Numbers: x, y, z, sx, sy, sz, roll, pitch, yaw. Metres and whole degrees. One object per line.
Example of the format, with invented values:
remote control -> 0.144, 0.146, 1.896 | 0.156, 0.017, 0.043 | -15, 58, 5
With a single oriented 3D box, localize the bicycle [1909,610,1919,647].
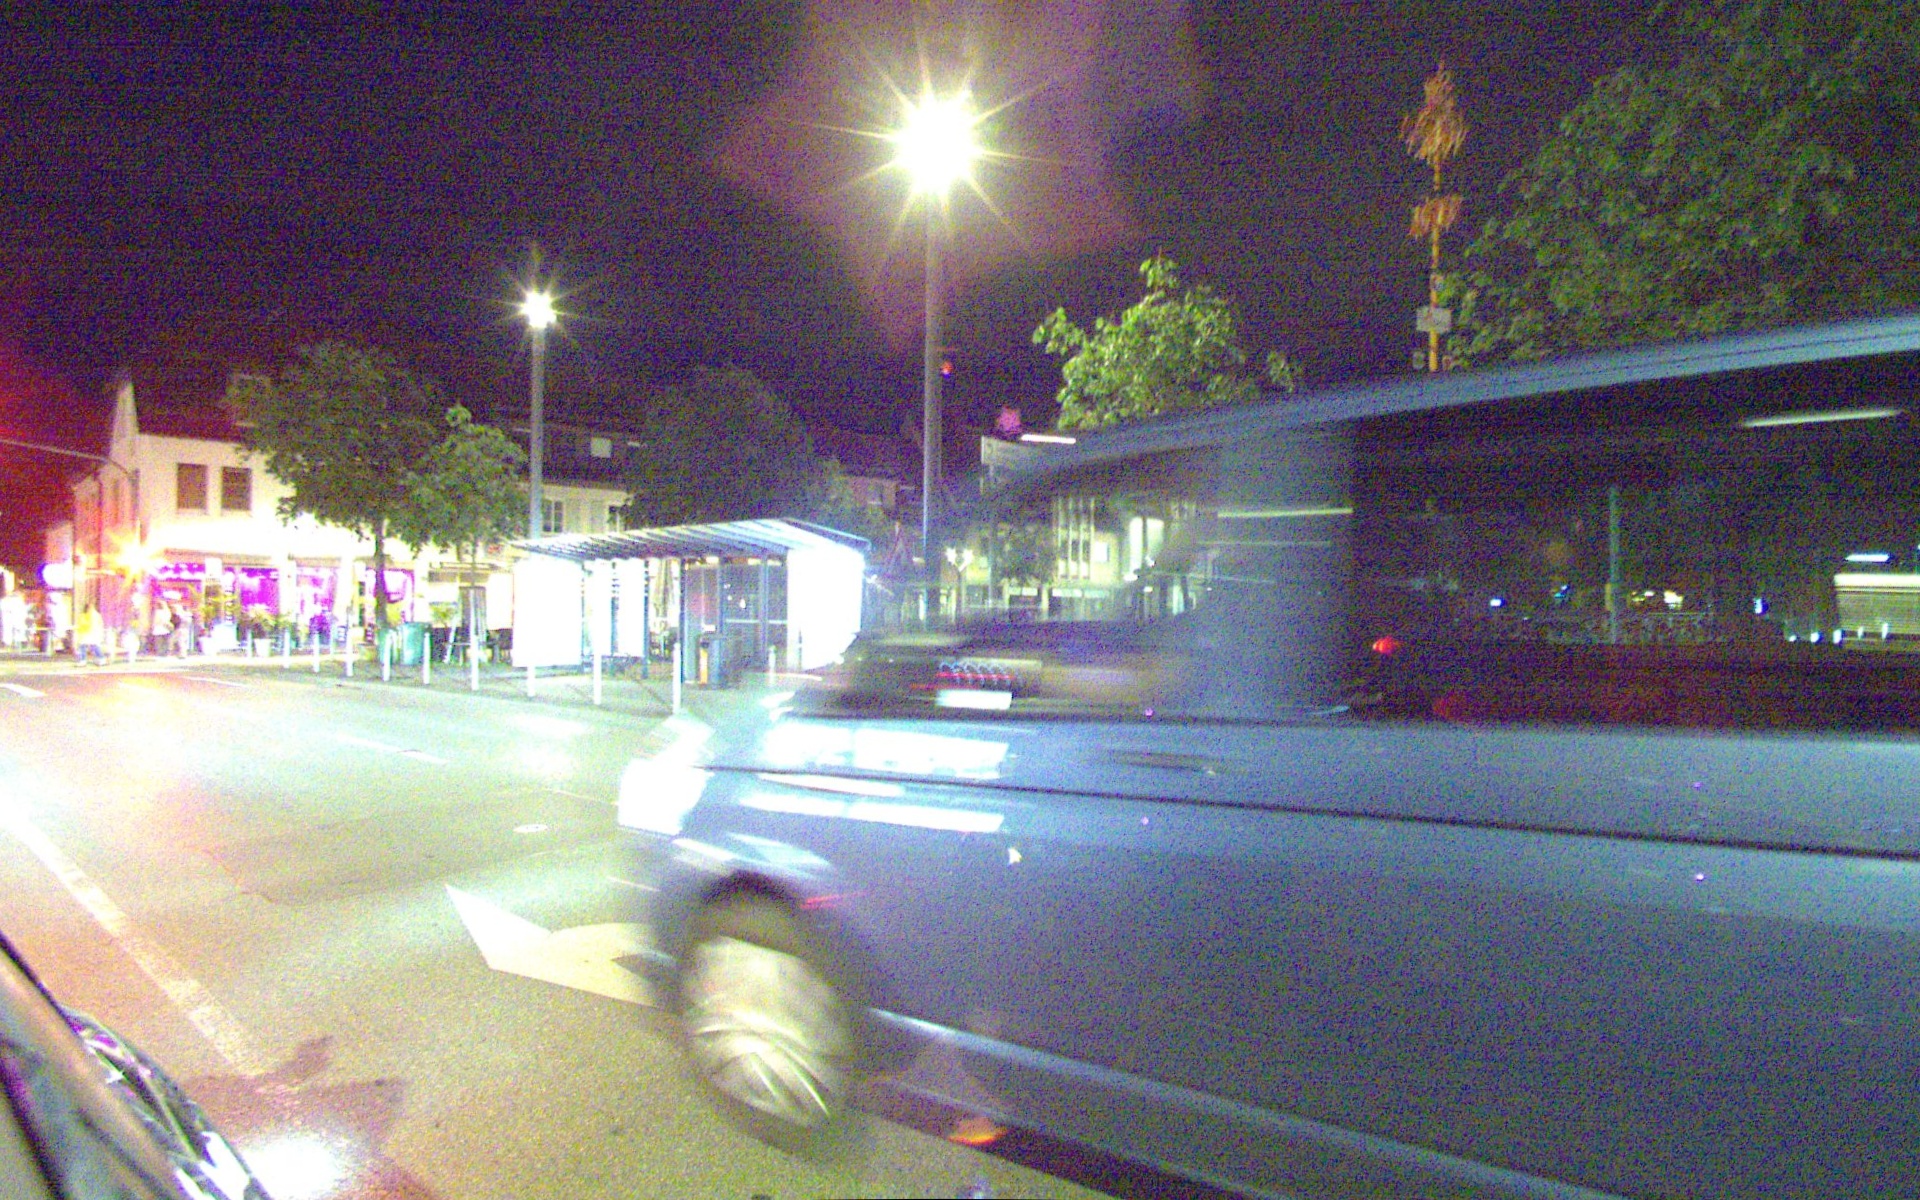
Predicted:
bicycle -> 26.420, 0.759, 26.990 | 1.525, 0.965, 0.476 | -1, 0, 25

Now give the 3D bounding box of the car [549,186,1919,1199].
car -> 1.329, 0.405, 2.499 | 4.899, 1.886, 1.950 | -1, -1, 34

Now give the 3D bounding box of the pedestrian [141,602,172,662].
pedestrian -> -23.079, 0.919, 29.081 | 0.573, 1.694, 0.649 | -1, 0, -27

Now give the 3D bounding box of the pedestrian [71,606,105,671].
pedestrian -> -23.144, 1.006, 26.873 | 0.531, 1.694, 0.649 | -1, 0, -27

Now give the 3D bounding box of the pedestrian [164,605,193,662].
pedestrian -> -23.076, 0.980, 29.890 | 0.573, 1.640, 0.649 | -1, 0, -27
